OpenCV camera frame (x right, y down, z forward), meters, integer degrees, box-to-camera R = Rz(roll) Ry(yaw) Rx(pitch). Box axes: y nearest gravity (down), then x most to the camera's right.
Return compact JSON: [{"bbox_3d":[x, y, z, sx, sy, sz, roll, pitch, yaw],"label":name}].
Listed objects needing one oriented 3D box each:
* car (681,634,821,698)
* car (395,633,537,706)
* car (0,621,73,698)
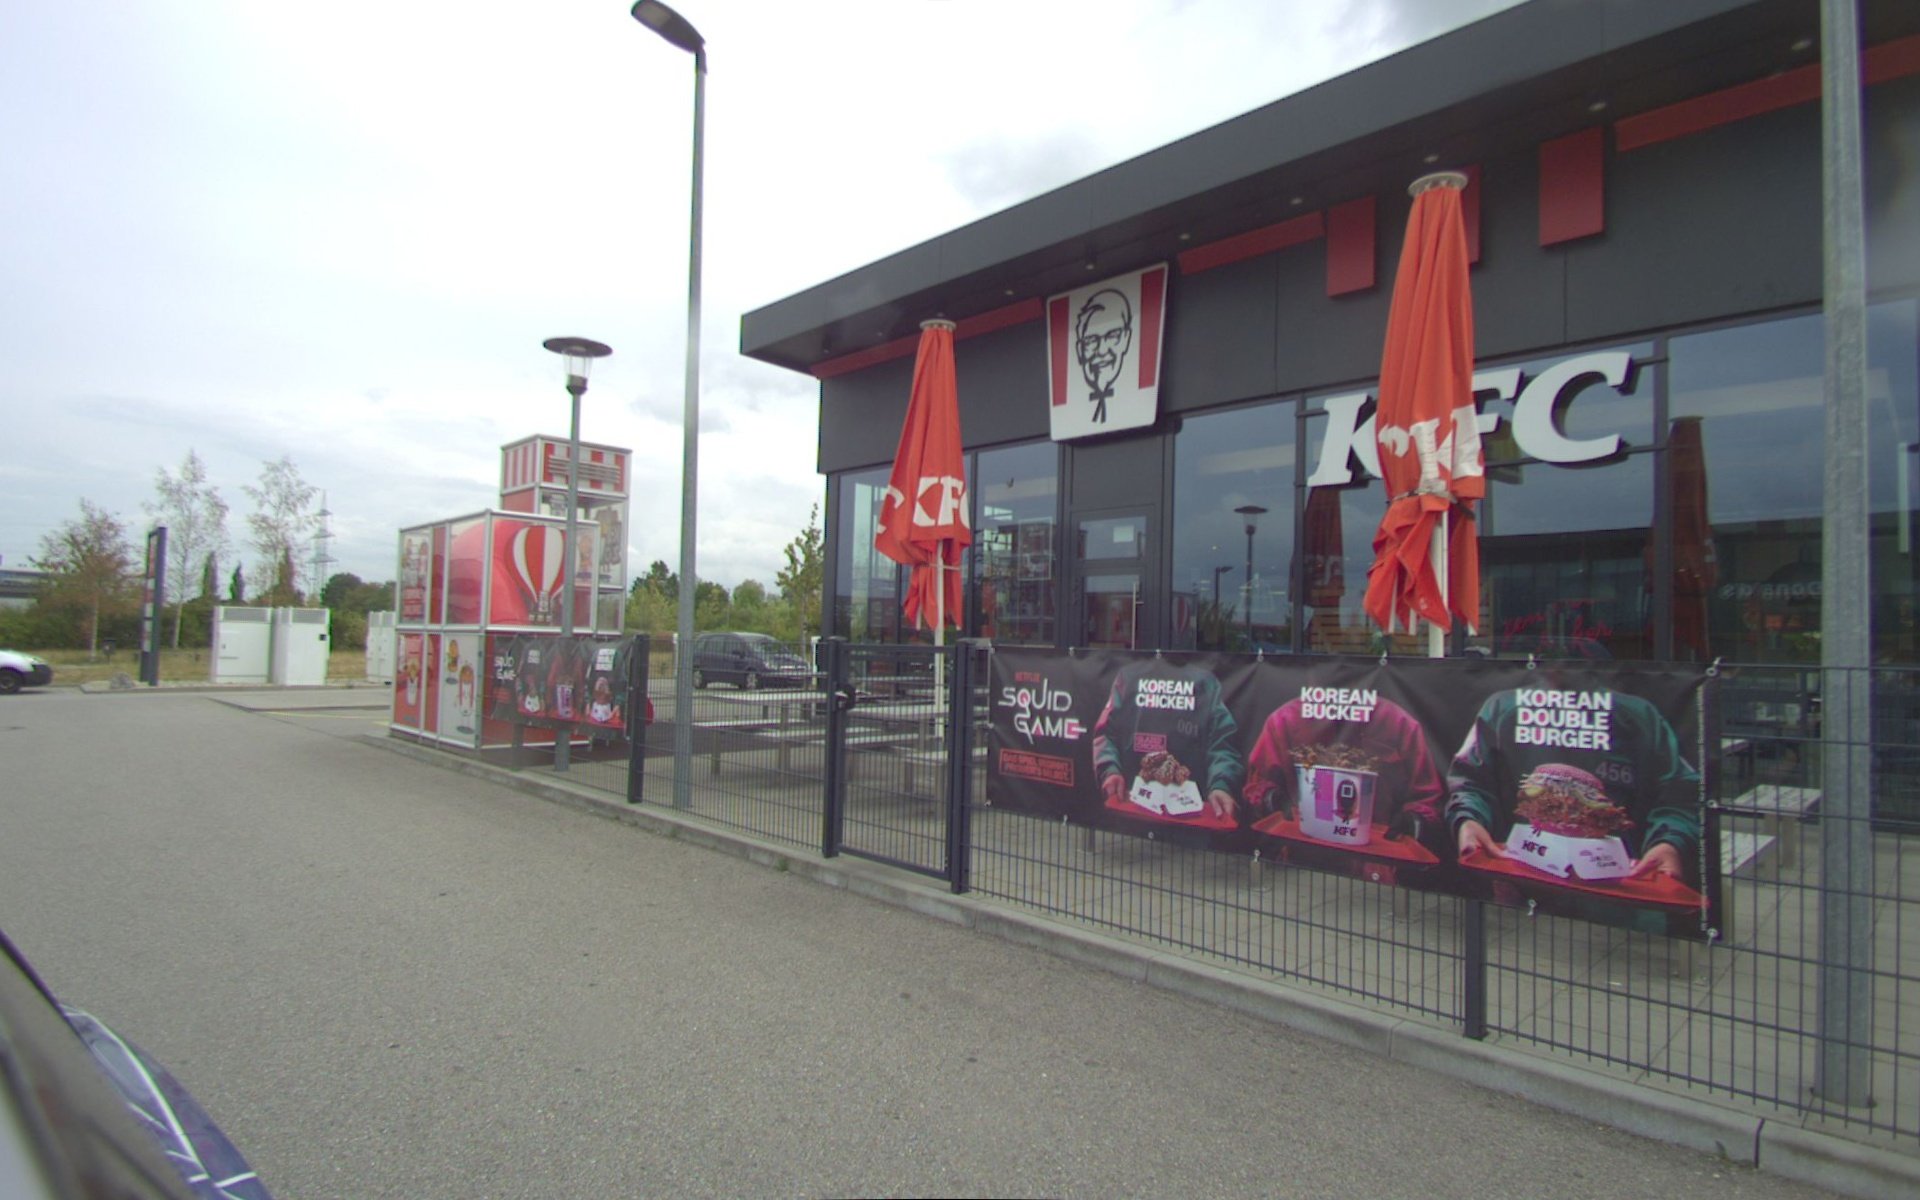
[{"bbox_3d":[-5.859,1.796,28.057,4.488,1.629,1.562,-2,-5,45],"label":"car"},{"bbox_3d":[-11.422,1.554,23.257,4.170,1.516,1.605,-2,-5,45],"label":"car"},{"bbox_3d":[-24.860,1.456,24.964,1.947,1.903,4.274,-4,-6,44],"label":"car"}]
